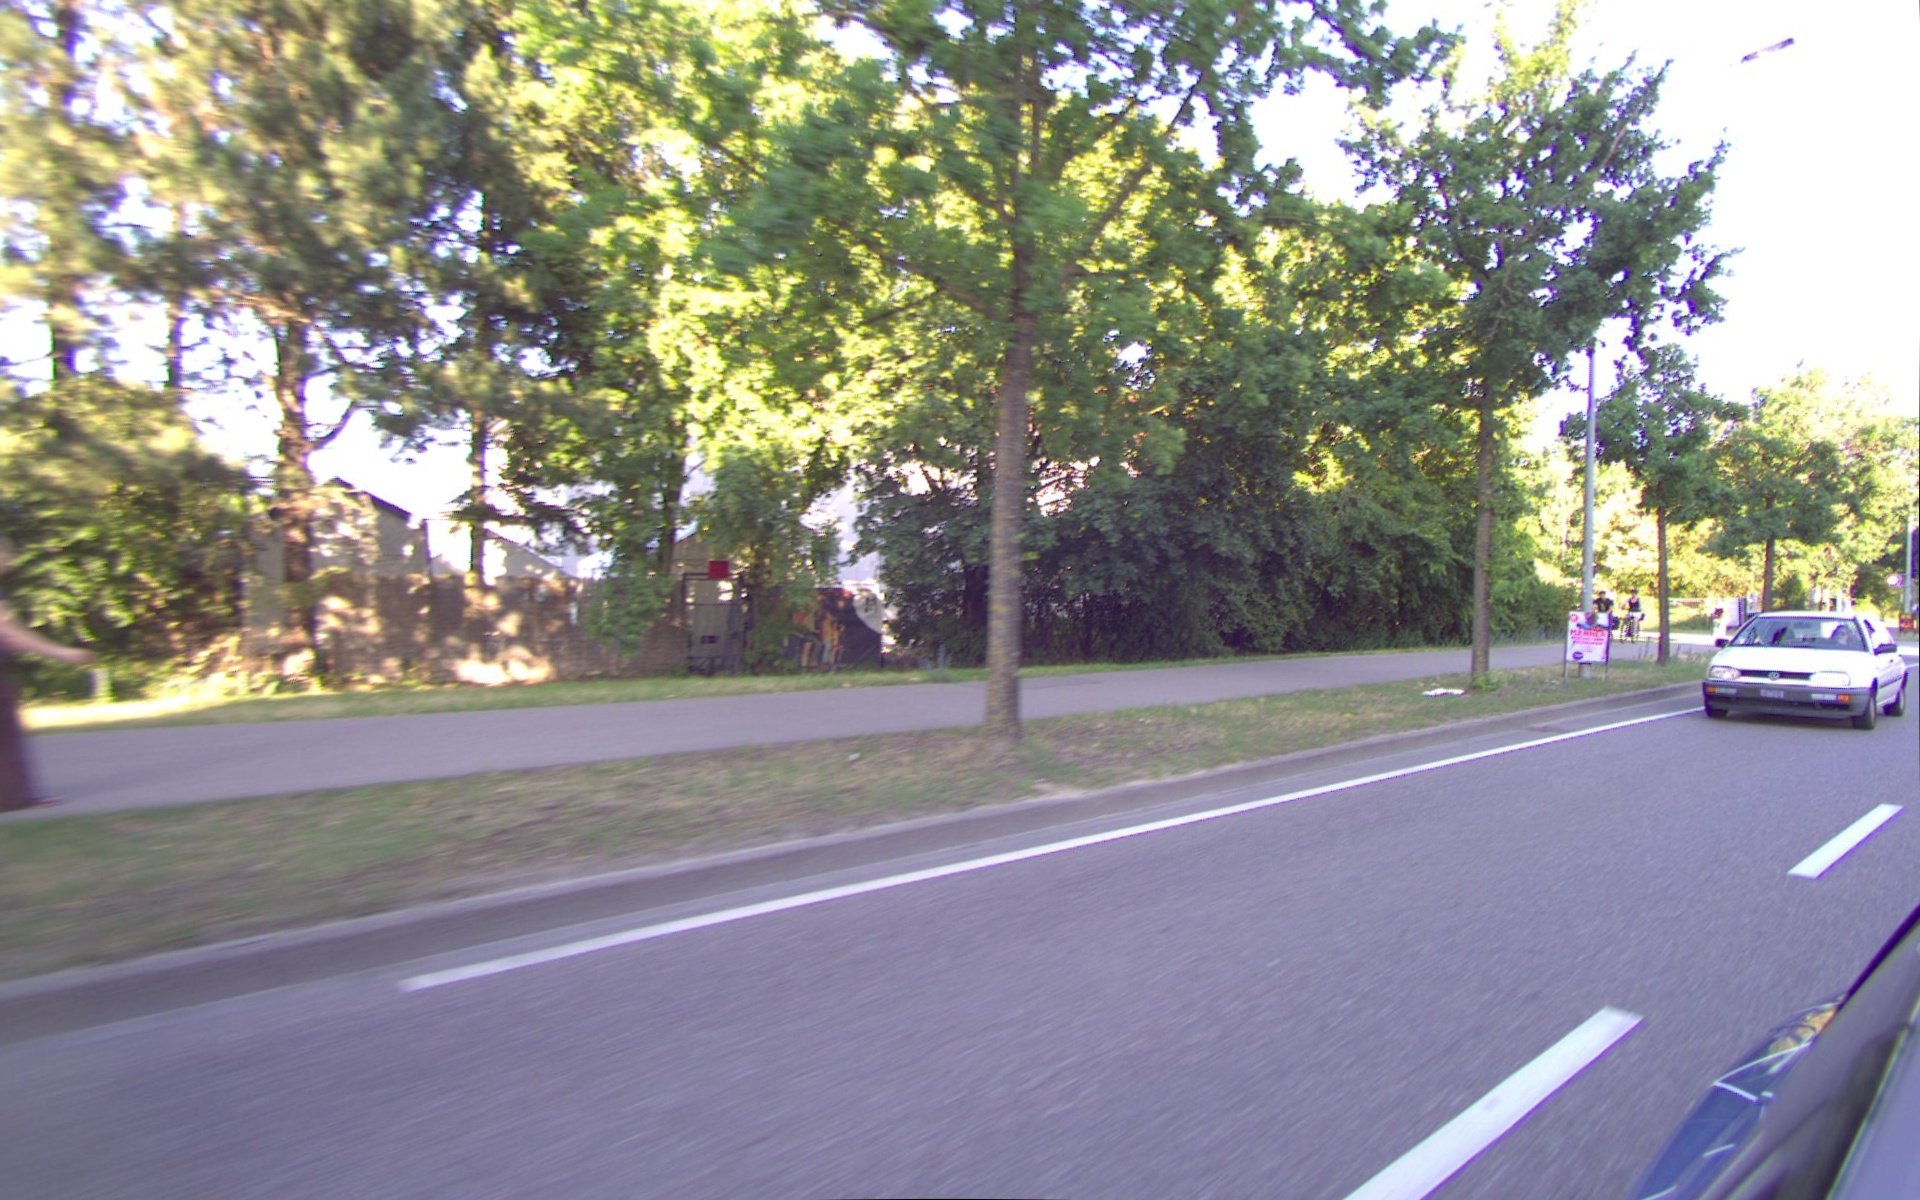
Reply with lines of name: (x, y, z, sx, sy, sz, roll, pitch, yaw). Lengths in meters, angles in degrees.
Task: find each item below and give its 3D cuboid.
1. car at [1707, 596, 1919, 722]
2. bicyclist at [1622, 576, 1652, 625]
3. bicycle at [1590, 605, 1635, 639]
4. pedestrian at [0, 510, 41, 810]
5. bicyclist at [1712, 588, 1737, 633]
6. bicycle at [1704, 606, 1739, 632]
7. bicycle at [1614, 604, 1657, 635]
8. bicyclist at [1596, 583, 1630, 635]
car: (11.502, 0.701, 13.451, 3.965, 1.416, 1.614, 1, 0, -40)
bicyclist: (22.532, 0.006, 33.673, 0.833, 1.598, 0.604, 0, 1, -39)
bicycle: (19.456, 0.641, 30.158, 1.789, 0.986, 0.618, 0, 1, -39)
pedestrian: (-5.522, 0.307, 5.361, 0.670, 1.593, 0.897, 3, 2, 41)
bicyclist: (30.462, 0.397, 40.309, 0.833, 1.755, 0.604, 0, 1, -39)
bicycle: (30.135, 0.736, 40.045, 2.022, 0.986, 0.618, 0, 1, -39)
bicycle: (22.454, 0.628, 33.613, 2.022, 0.986, 0.618, 0, 1, -39)
bicyclist: (19.475, 0.273, 30.168, 0.833, 1.520, 0.614, 0, 1, -39)
